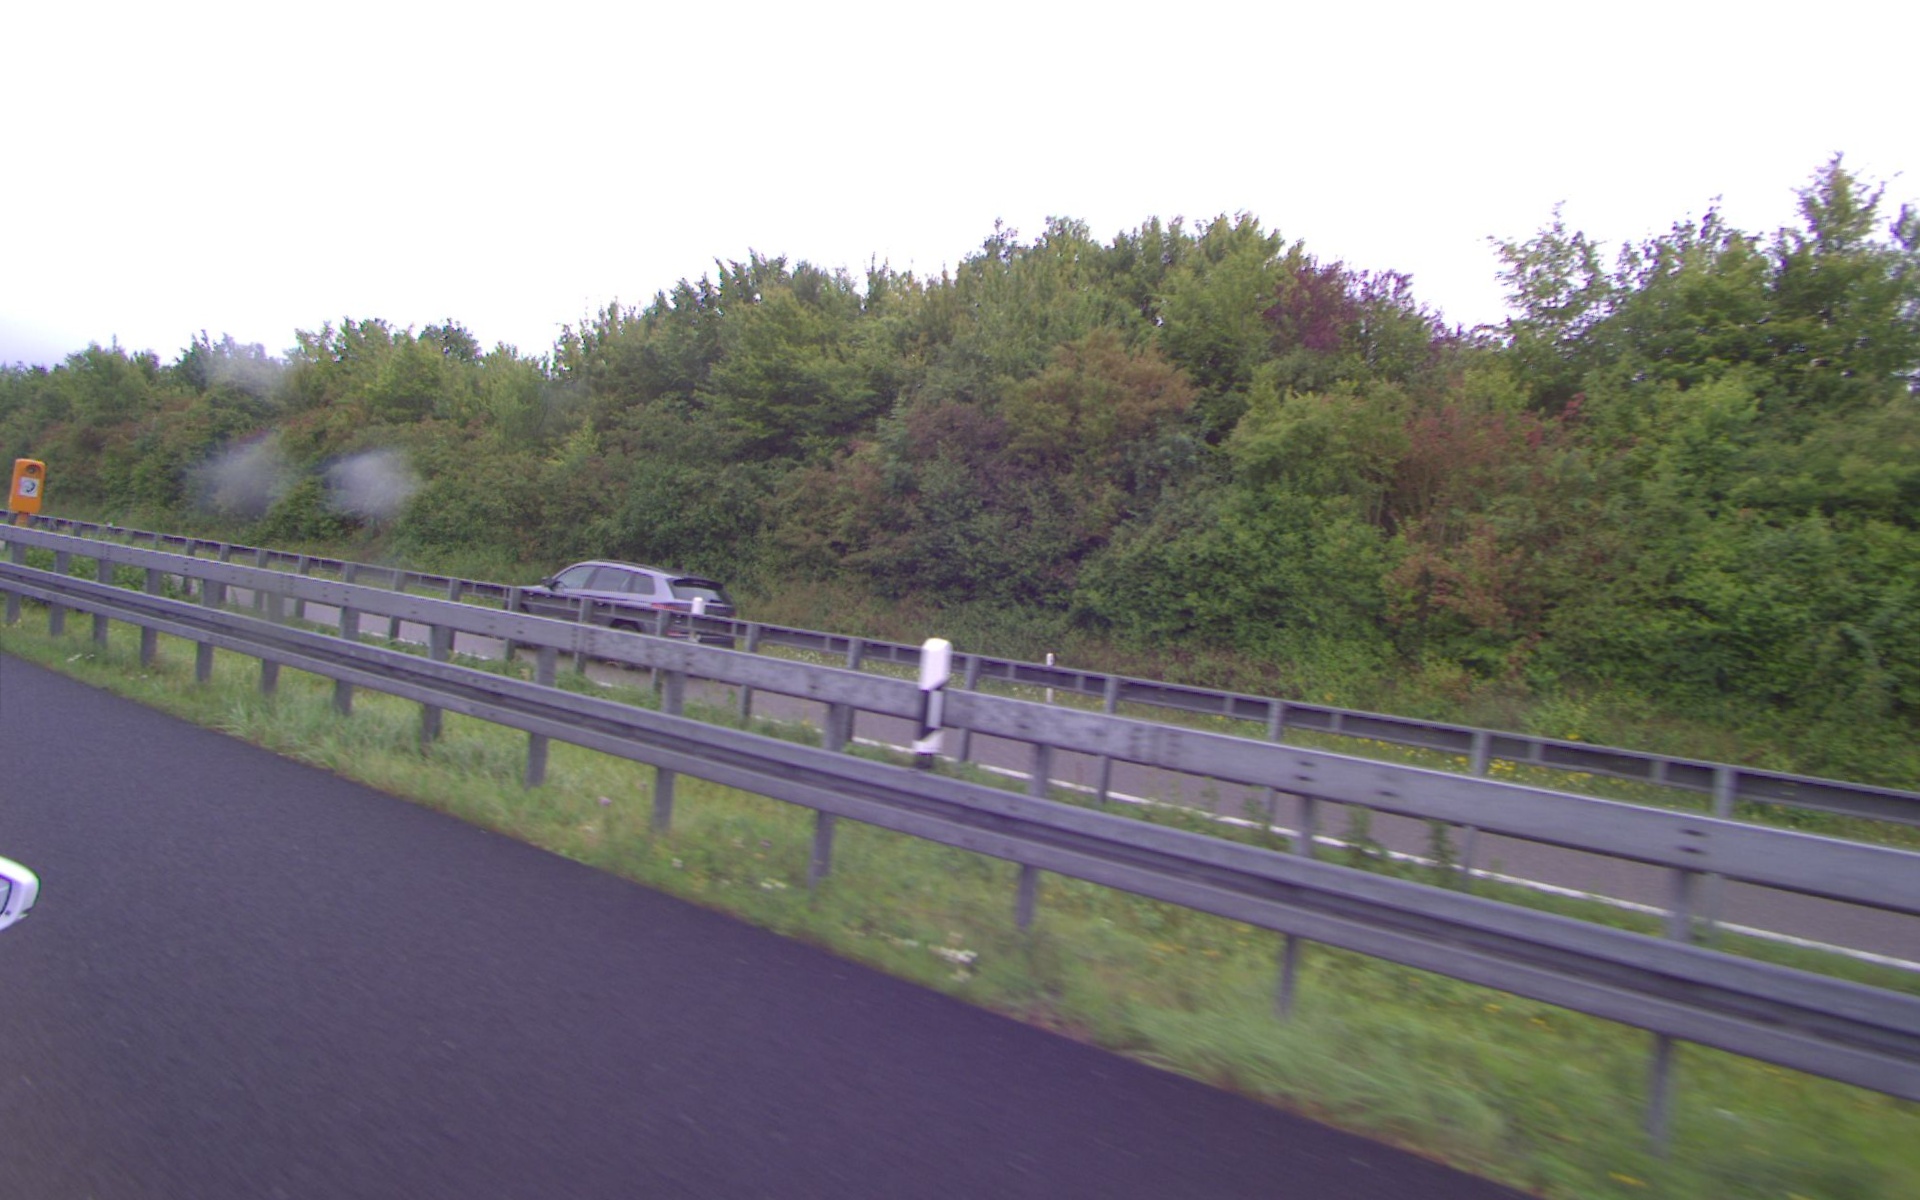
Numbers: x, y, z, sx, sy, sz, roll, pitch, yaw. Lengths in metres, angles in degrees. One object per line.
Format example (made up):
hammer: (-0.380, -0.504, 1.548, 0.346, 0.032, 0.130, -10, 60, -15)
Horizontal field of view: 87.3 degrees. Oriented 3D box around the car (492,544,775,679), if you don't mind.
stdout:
car: (-5.552, 0.182, 17.011, 4.397, 1.675, 2.011, 7, -1, 31)
